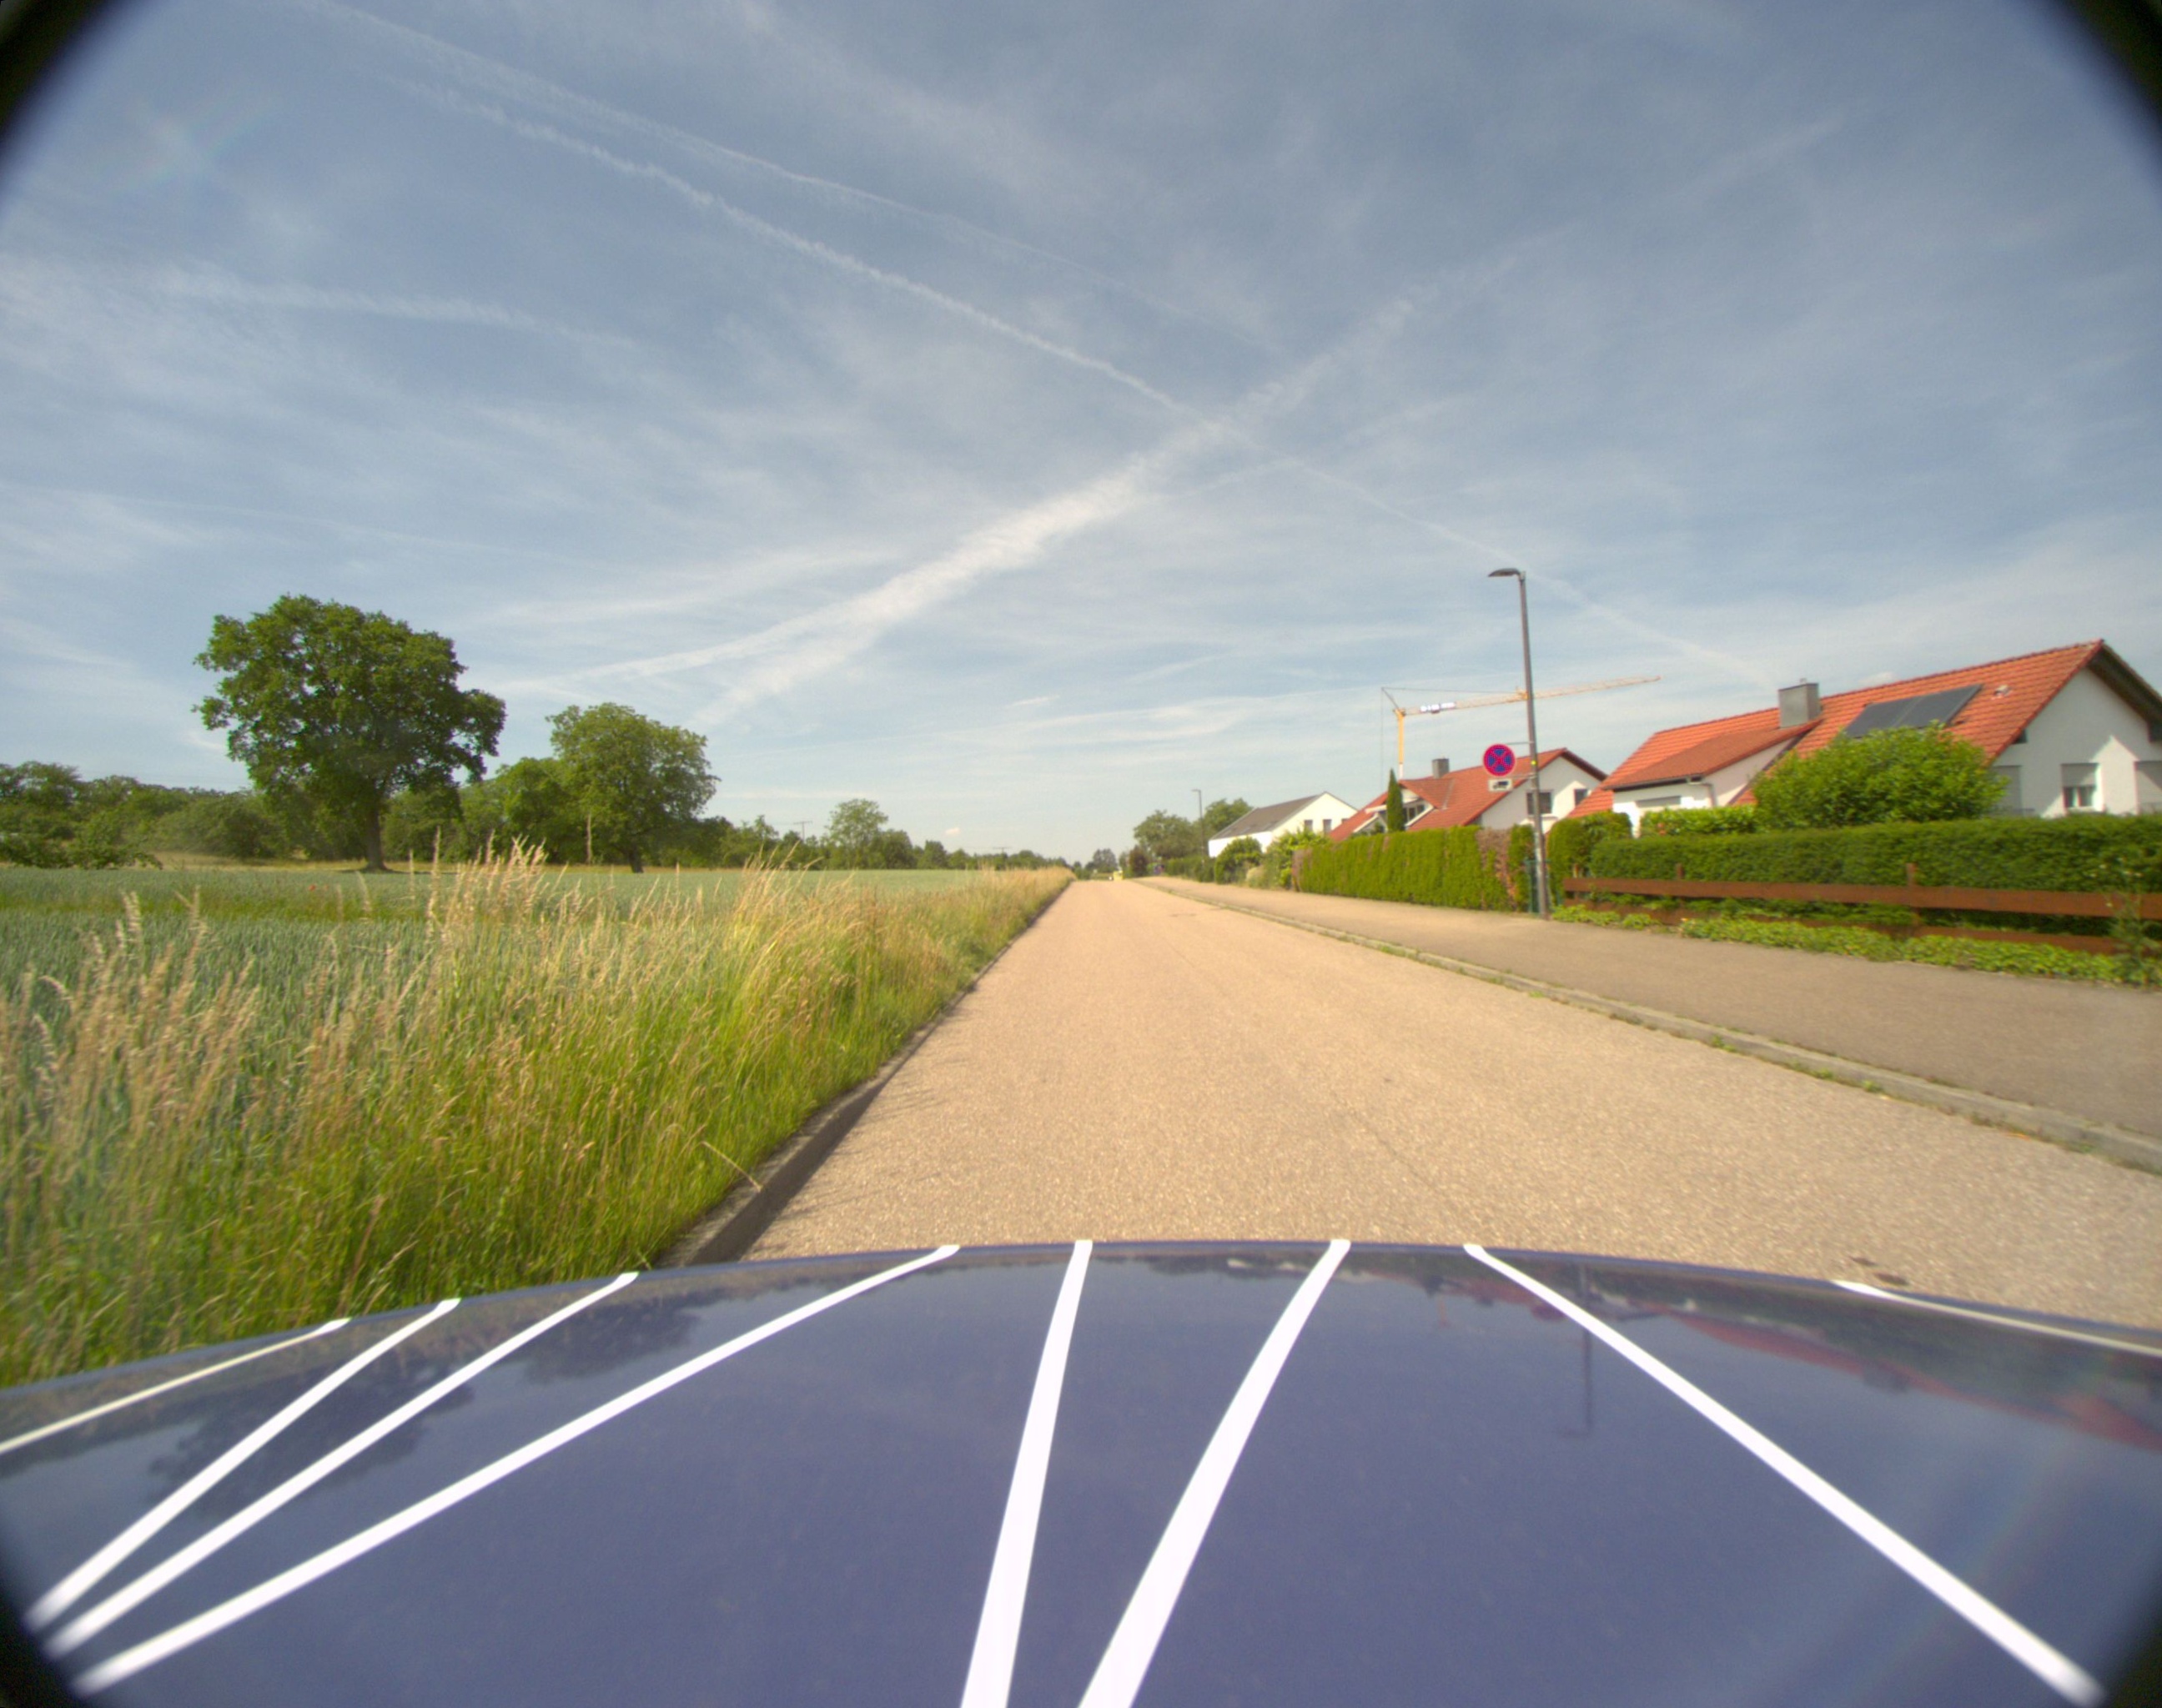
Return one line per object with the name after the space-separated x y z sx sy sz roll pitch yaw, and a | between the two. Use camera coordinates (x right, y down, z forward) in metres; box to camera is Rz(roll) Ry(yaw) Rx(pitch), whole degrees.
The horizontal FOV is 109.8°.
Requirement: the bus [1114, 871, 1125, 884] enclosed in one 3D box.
11.000 6.728 217.924 3.066 3.556 9.458 -2 0 3 | bus

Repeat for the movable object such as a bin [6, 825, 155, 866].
-64.344 -0.512 48.940 6.569 2.356 2.446 2 0 3 | movable object such as a bin

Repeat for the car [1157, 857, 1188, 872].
12.116 1.362 100.873 3.885 1.801 1.801 -4 -1 5 | car

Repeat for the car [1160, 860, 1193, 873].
11.633 1.524 92.627 3.885 1.314 1.801 -3 -1 5 | car
